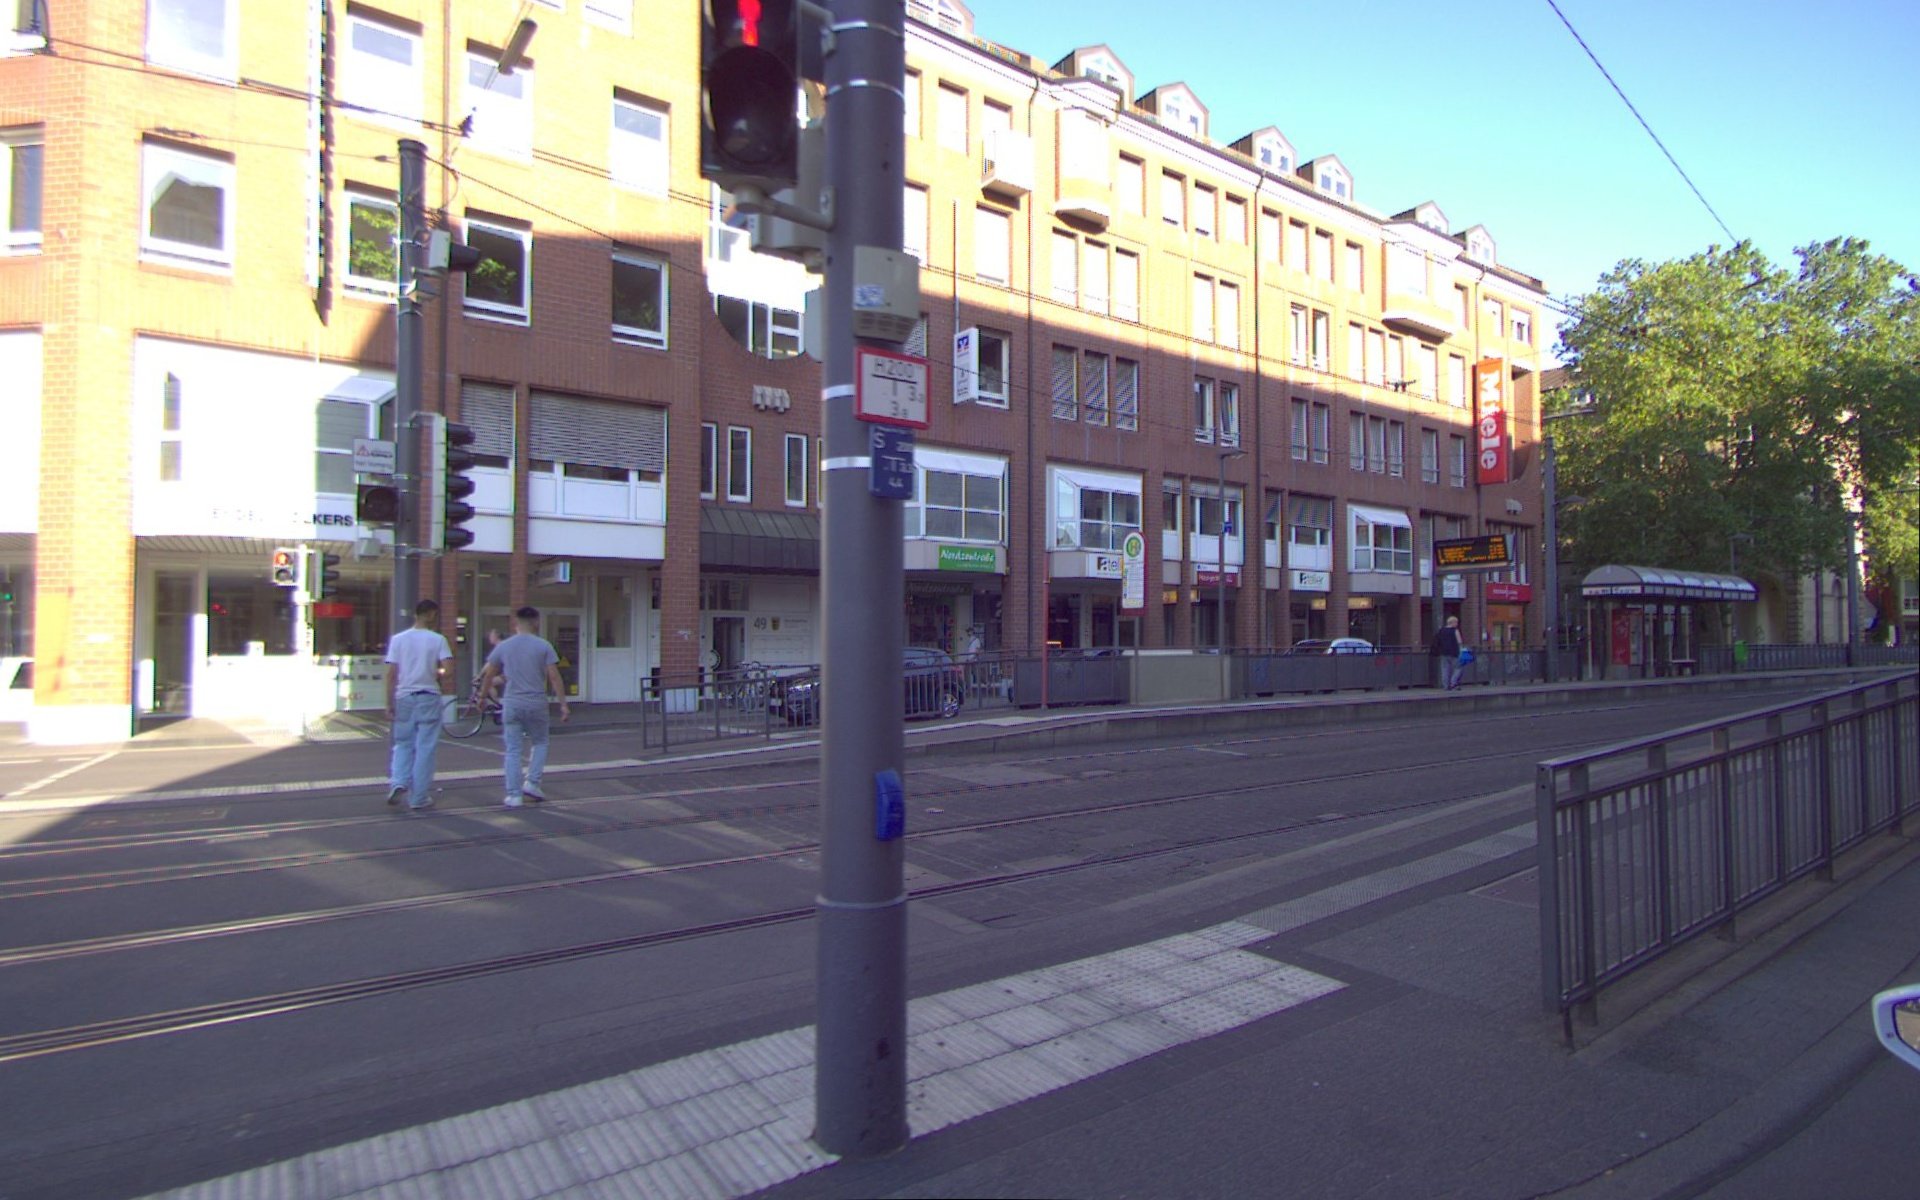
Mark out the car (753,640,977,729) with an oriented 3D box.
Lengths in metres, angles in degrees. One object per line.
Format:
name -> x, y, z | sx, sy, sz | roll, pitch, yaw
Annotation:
car -> -1.844, 1.618, 20.000 | 4.081, 1.549, 1.889 | 1, -3, -37

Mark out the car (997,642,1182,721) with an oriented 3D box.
car -> 3.063, 1.834, 23.436 | 4.157, 1.621, 1.879 | 1, -3, -37

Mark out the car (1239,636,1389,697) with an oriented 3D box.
car -> 10.057, 1.905, 28.439 | 4.248, 1.614, 1.898 | 3, -5, -35

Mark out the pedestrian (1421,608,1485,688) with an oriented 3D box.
pedestrian -> 10.677, 1.036, 21.760 | 0.958, 1.684, 0.905 | 2, -2, -36

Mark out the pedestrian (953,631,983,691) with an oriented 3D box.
pedestrian -> 0.232, 1.725, 28.541 | 0.631, 1.684, 0.607 | 1, -2, -36

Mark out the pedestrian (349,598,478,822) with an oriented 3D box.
pedestrian -> -4.637, 0.893, 8.591 | 0.848, 1.790, 0.807 | 1, 0, -23

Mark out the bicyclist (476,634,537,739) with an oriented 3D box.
bicyclist -> -8.037, 1.505, 17.803 | 0.804, 1.790, 0.730 | 1, 0, -38

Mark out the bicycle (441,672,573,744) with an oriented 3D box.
bicycle -> -8.008, 1.883, 17.821 | 2.037, 1.135, 0.568 | 2, 0, -39

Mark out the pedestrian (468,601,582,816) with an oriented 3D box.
pedestrian -> -3.832, 0.914, 8.897 | 0.848, 1.790, 0.807 | 1, 0, -23

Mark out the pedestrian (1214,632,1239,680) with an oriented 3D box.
pedestrian -> 9.490, 1.979, 35.783 | 0.632, 1.684, 0.606 | 2, -2, -40
